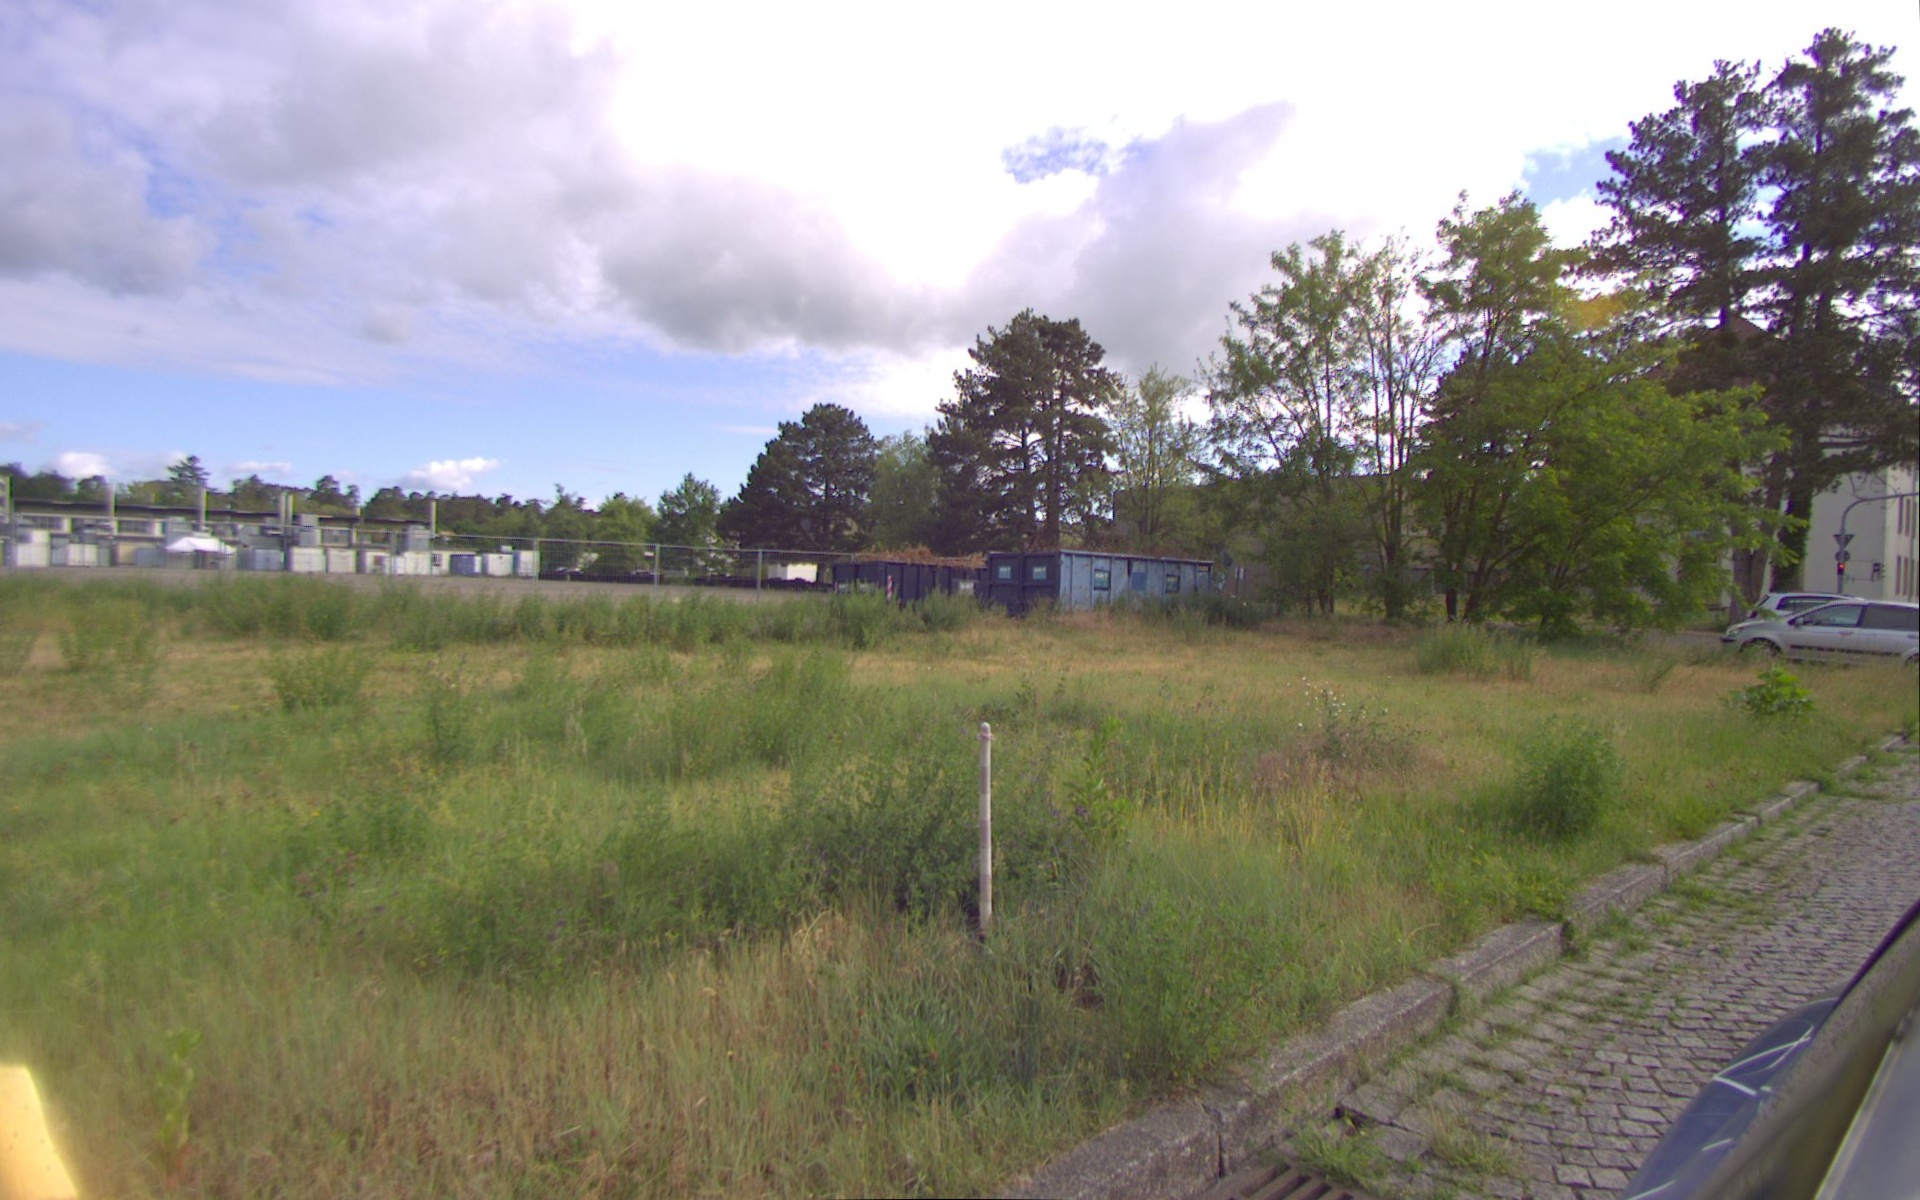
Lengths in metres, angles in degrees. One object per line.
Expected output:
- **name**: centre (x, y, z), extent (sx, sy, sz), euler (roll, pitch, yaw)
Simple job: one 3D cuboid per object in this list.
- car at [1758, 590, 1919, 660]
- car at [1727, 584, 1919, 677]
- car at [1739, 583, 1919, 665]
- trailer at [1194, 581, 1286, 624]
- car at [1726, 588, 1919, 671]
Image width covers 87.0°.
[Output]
- **car**: centre (22.955, 0.636, 25.201), extent (1.796, 1.442, 4.558), euler (0, 5, -43)
- **car**: centre (17.423, 0.593, 19.611), extent (1.713, 1.497, 3.779), euler (2, 3, -43)
- **car**: centre (21.031, 0.546, 23.557), extent (1.797, 1.593, 4.334), euler (0, 5, -45)
- **trailer**: centre (8.044, 0.051, 29.165), extent (1.124, 1.184, 2.316), euler (0, 1, -41)
- **car**: centre (19.261, 0.645, 21.553), extent (1.765, 1.423, 4.376), euler (2, 3, -41)
